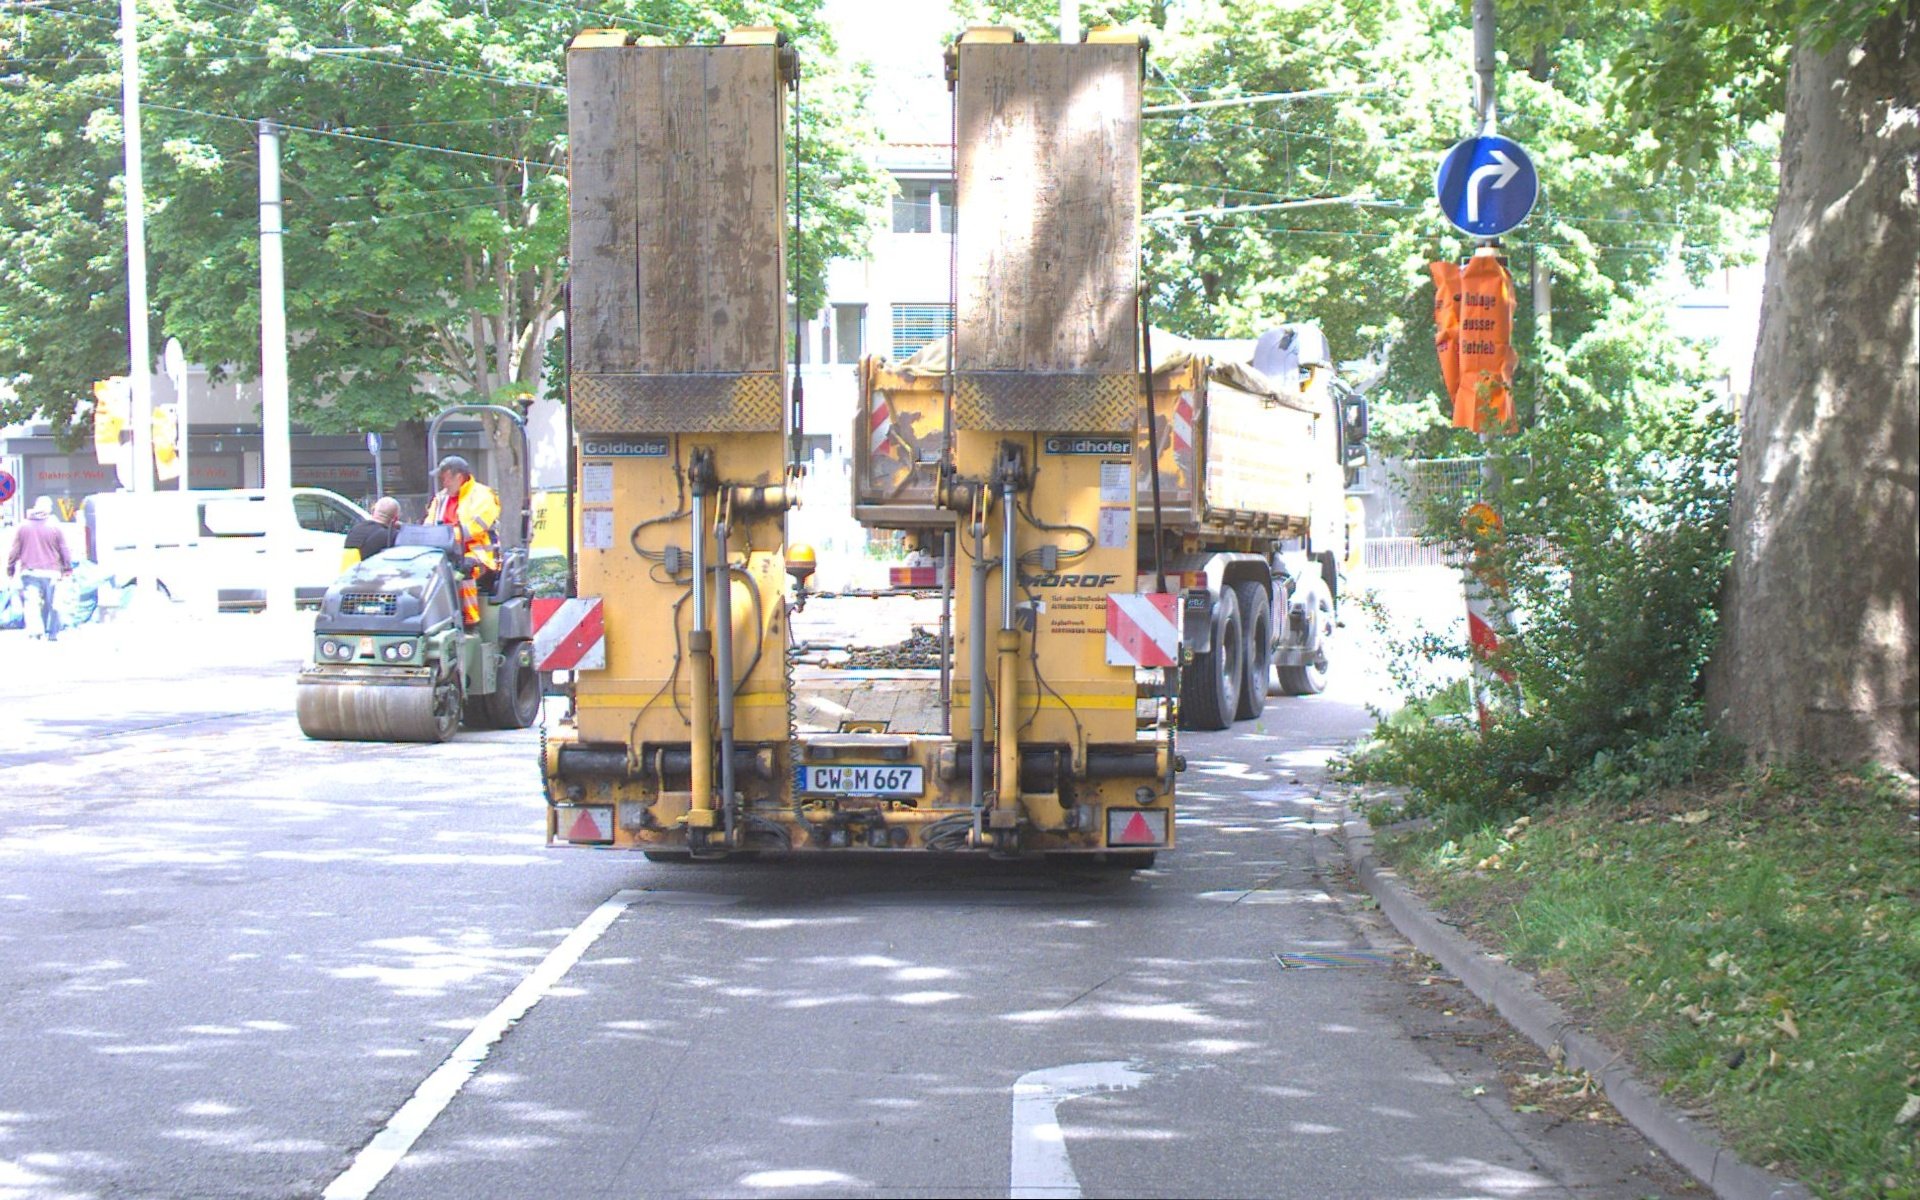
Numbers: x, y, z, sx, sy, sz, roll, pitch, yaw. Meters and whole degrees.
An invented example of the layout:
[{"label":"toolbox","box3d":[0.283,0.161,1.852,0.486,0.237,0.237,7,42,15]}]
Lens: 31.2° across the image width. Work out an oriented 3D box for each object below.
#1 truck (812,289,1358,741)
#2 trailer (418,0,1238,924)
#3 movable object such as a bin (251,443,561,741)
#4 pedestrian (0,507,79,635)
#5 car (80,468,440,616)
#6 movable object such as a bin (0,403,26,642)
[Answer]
[{"label":"truck","box3d":[1.295,-0.654,27.950,2.991,3.124,7.883,0,1,13]},{"label":"trailer","box3d":[-0.113,-0.632,18.702,3.154,3.540,11.095,0,1,4]},{"label":"movable object such as a bin","box3d":[-3.894,-0.082,24.484,1.399,2.007,2.555,0,1,11]},{"label":"pedestrian","box3d":[-10.310,-0.327,38.120,0.916,1.404,0.753,0,1,-3]},{"label":"car","box3d":[-10.292,-0.851,50.481,5.088,2.095,1.977,0,1,-14]},{"label":"movable object such as a bin","box3d":[-12.833,-0.852,38.158,4.373,2.620,2.217,0,1,26]}]
